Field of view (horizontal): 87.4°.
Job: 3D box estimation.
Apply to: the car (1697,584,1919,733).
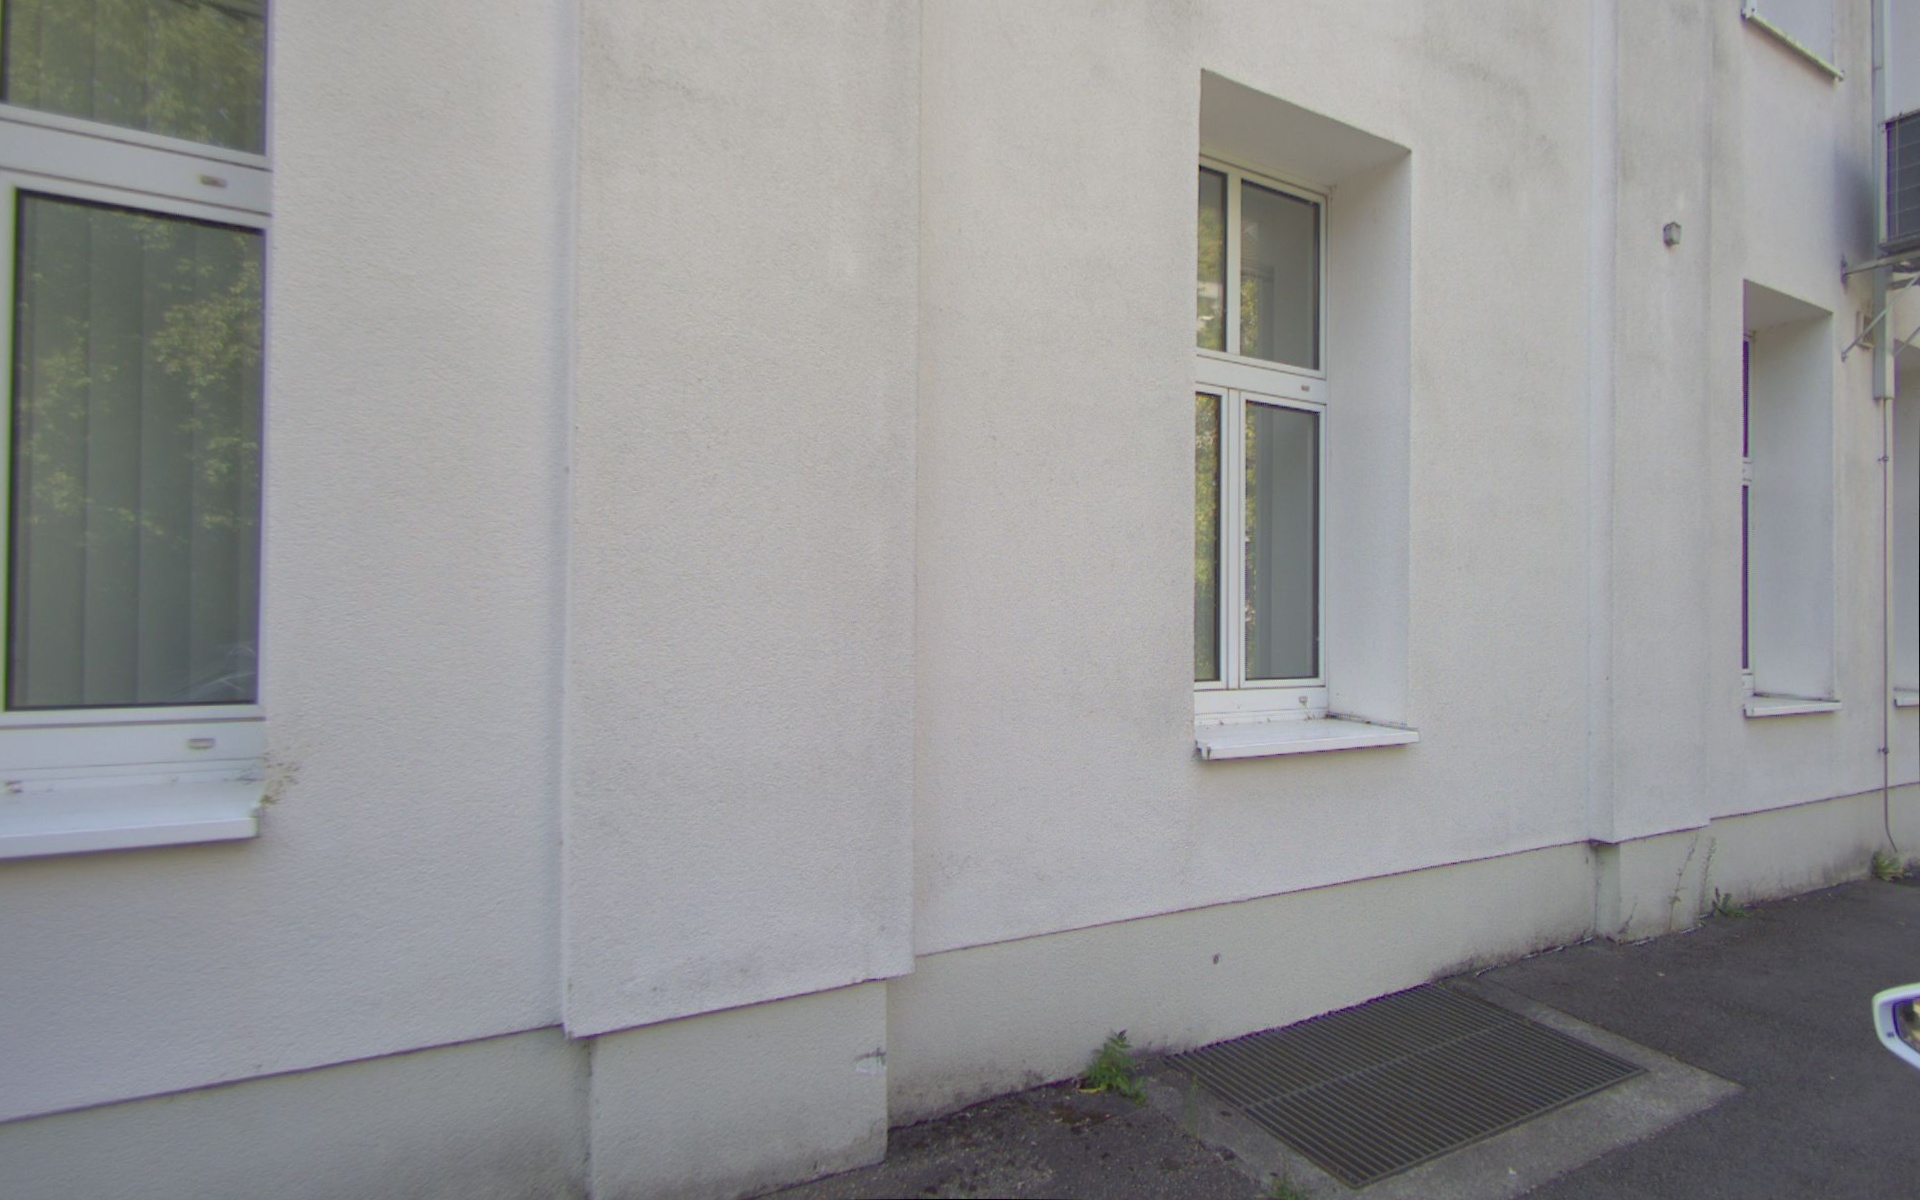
[{"bbox_3d":[14.368,0.864,15.227,2.031,2.120,4.726,2,0,-29],"label":"car"}]
